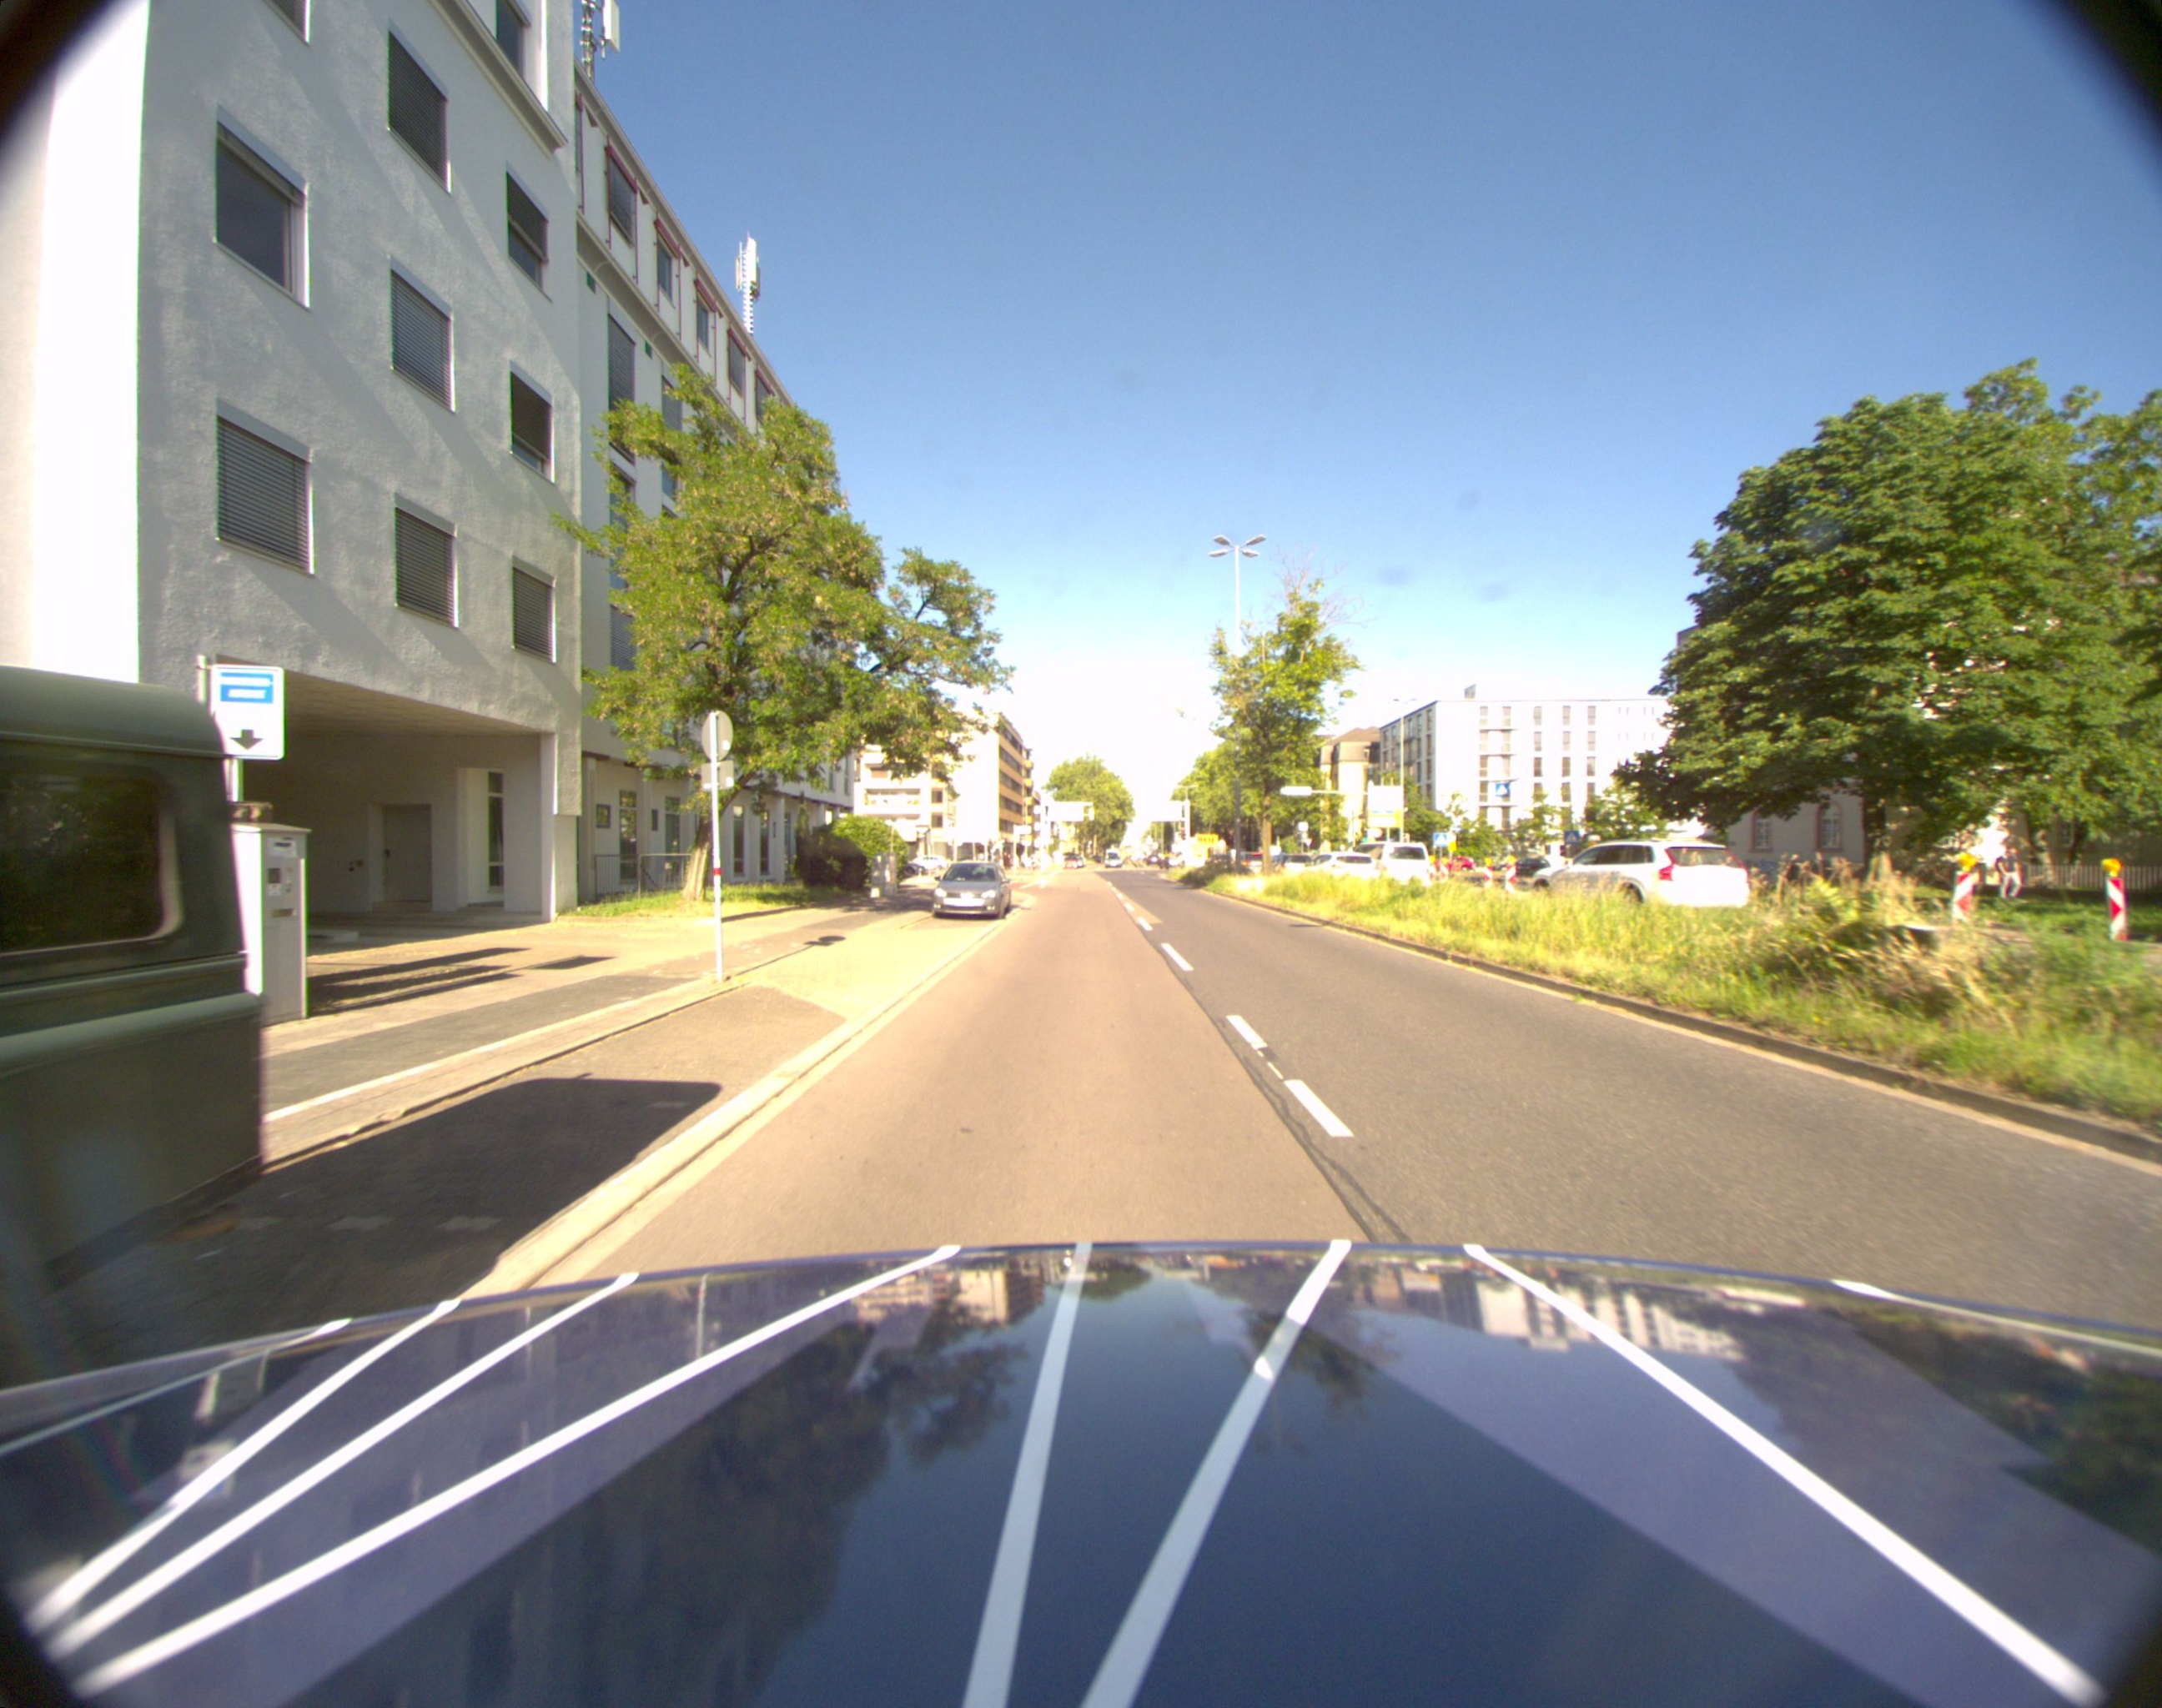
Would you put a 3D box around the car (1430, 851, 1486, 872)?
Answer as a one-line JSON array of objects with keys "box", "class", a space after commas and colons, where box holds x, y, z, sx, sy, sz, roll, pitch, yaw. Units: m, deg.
[{"box": [32.711, 0.623, 66.090, 3.994, 1.609, 1.919, -1, 3, 9], "class": "car"}]

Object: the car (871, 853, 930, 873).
[{"box": [-14.018, 0.687, 59.187, 4.052, 1.400, 1.885, -1, 1, 7], "class": "car"}]

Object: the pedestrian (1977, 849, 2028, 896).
[{"box": [30.268, 0.599, 24.967, 0.742, 1.527, 0.781, 0, 1, -5], "class": "pedestrian"}]

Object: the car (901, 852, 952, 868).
[{"box": [-15.431, 0.608, 75.924, 4.557, 1.510, 1.881, 0, -1, -30], "class": "car"}]

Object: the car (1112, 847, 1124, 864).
[{"box": [5.777, 0.210, 118.573, 1.883, 2.498, 4.451, -1, 0, 3], "class": "car"}]

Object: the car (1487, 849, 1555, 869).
[{"box": [38.228, 0.428, 66.103, 4.704, 1.609, 1.919, -1, 3, 9], "class": "car"}]

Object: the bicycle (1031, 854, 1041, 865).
[{"box": [-4.533, 0.522, 76.662, 0.867, 0.985, 1.900, -2, 3, -6], "class": "bicycle"}]

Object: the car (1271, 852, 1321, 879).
[{"box": [12.674, 0.647, 45.040, 1.800, 1.510, 4.079, -1, 0, 0], "class": "car"}]

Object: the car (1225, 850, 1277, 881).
[{"box": [9.119, 0.563, 41.046, 1.800, 1.510, 4.346, -1, 1, 0], "class": "car"}]

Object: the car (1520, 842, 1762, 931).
[{"box": [12.401, 0.631, 17.373, 1.800, 1.733, 5.031, 0, 0, 0], "class": "car"}]

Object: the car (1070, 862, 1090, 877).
[{"box": [-0.115, 1.841, 93.179, 1.882, 1.511, 4.000, -1, 3, 8], "class": "car"}]

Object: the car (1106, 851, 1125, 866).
[{"box": [4.129, 0.470, 90.205, 1.882, 1.511, 4.000, -1, 3, 8], "class": "car"}]

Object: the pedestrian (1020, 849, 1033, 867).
[{"box": [-4.995, 0.337, 70.004, 0.788, 1.599, 0.927, -4, 4, -34], "class": "pedestrian"}]

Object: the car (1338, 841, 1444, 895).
[{"box": [12.502, 0.501, 31.061, 2.239, 2.016, 5.017, -1, 0, 0], "class": "car"}]

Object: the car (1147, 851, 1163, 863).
[{"box": [9.932, 0.416, 102.339, 1.861, 1.576, 4.278, -1, 0, 2], "class": "car"}]

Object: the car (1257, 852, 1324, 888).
[{"box": [9.457, 0.696, 34.600, 1.800, 1.510, 4.363, -1, 0, 0], "class": "car"}]

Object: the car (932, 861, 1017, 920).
[{"box": [-2.776, 0.951, 20.645, 1.642, 1.439, 4.157, 0, -1, 1], "class": "car"}]

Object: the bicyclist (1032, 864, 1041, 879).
[{"box": [-4.498, 1.776, 76.703, 0.870, 1.525, 0.852, -1, 2, -7], "class": "bicyclist"}]

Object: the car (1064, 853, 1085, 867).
[{"box": [-0.681, 0.649, 88.538, 1.882, 1.510, 4.002, -1, 1, 8], "class": "car"}]

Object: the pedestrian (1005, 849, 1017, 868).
[{"box": [-6.135, 0.398, 66.553, 0.897, 1.614, 0.721, -1, 4, 11], "class": "pedestrian"}]

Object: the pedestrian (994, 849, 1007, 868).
[{"box": [-7.421, 0.421, 70.323, 0.798, 1.635, 0.982, -4, 4, -34], "class": "pedestrian"}]

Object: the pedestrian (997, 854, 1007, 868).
[{"box": [-6.972, 0.594, 67.096, 0.647, 1.196, 0.526, -1, 4, 11], "class": "pedestrian"}]

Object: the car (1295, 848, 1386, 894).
[{"box": [9.143, 0.543, 27.166, 1.800, 1.510, 4.205, 0, 0, 0], "class": "car"}]
